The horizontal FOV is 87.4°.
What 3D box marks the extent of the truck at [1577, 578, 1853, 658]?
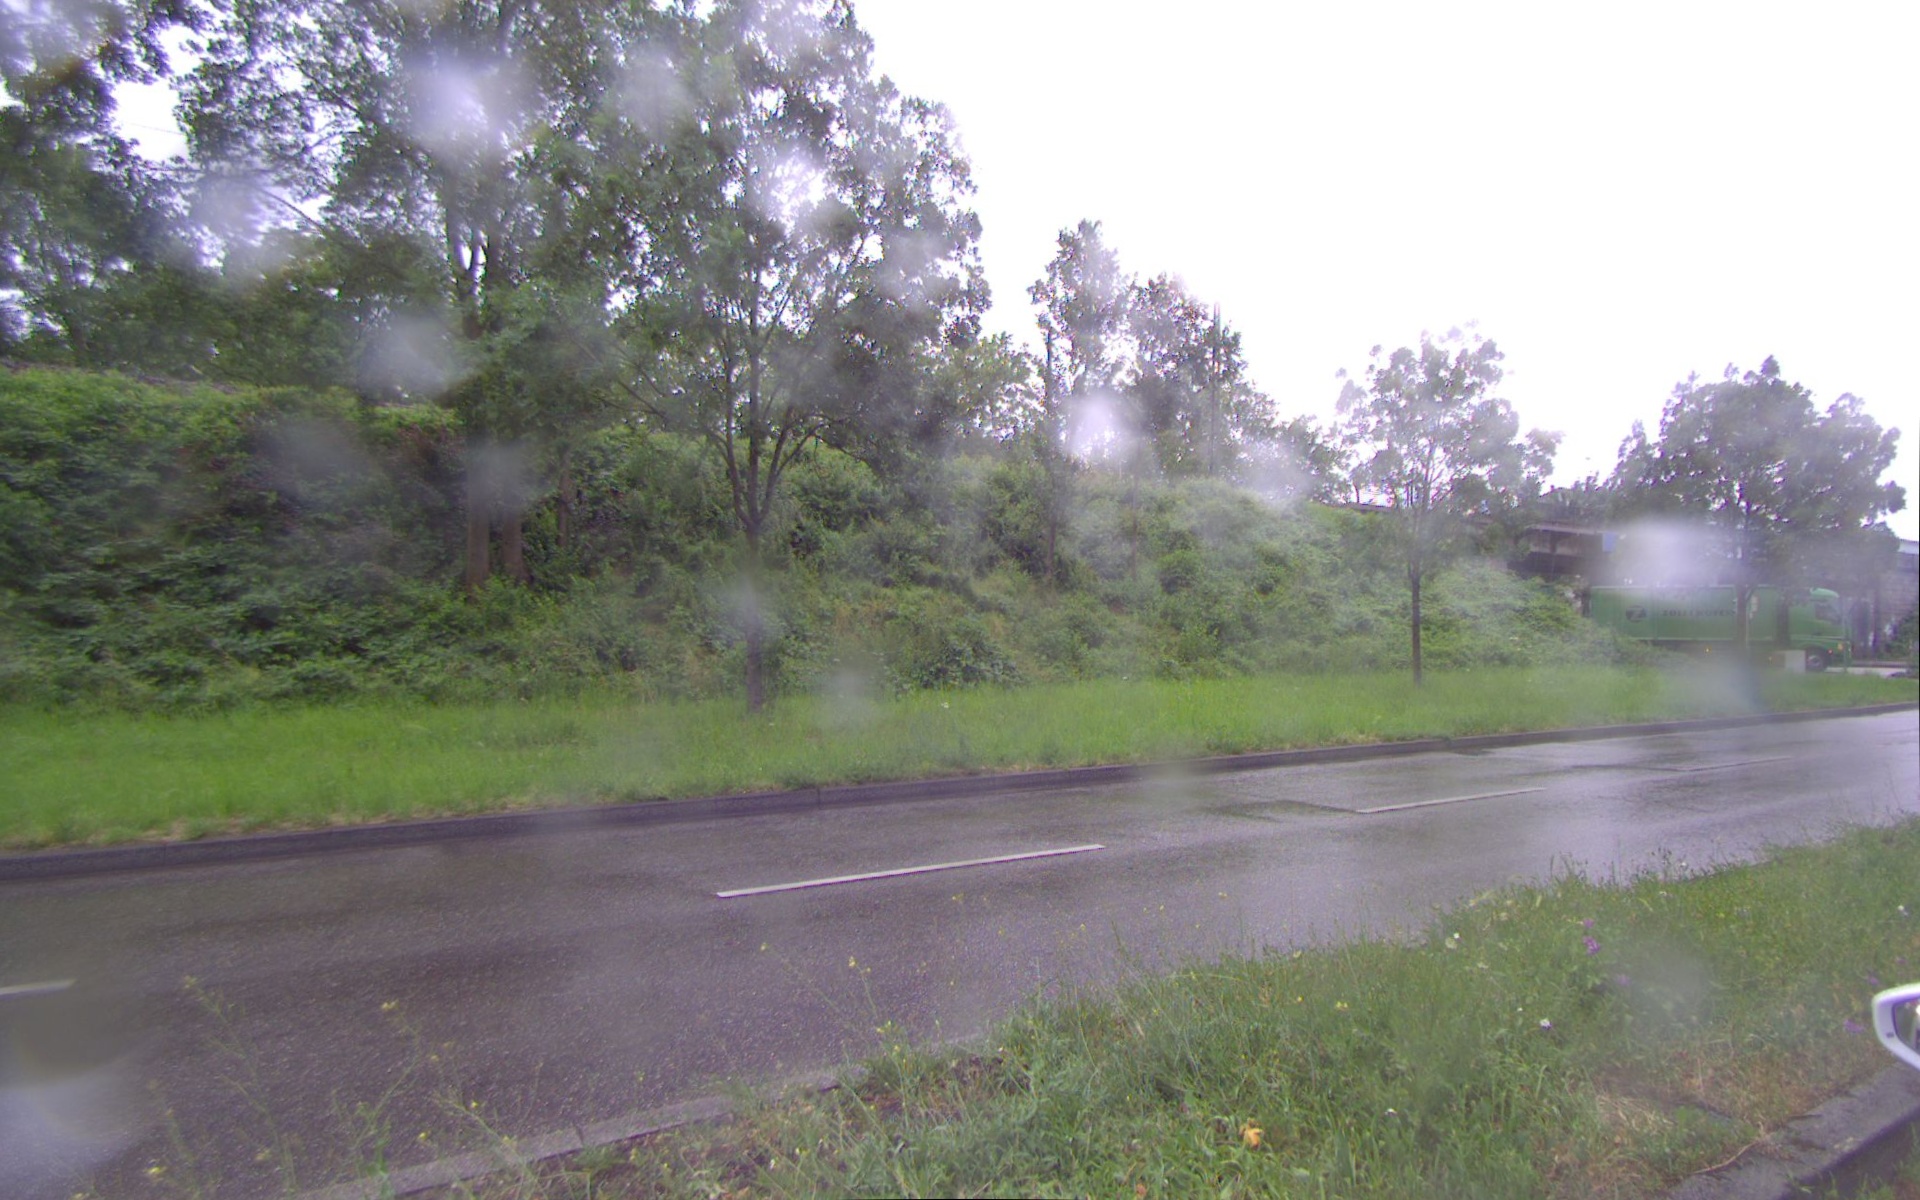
[{"bbox_3d":[34.391,0.765,46.314,9.872,3.416,2.346,0,-1,25],"label":"truck"}]
